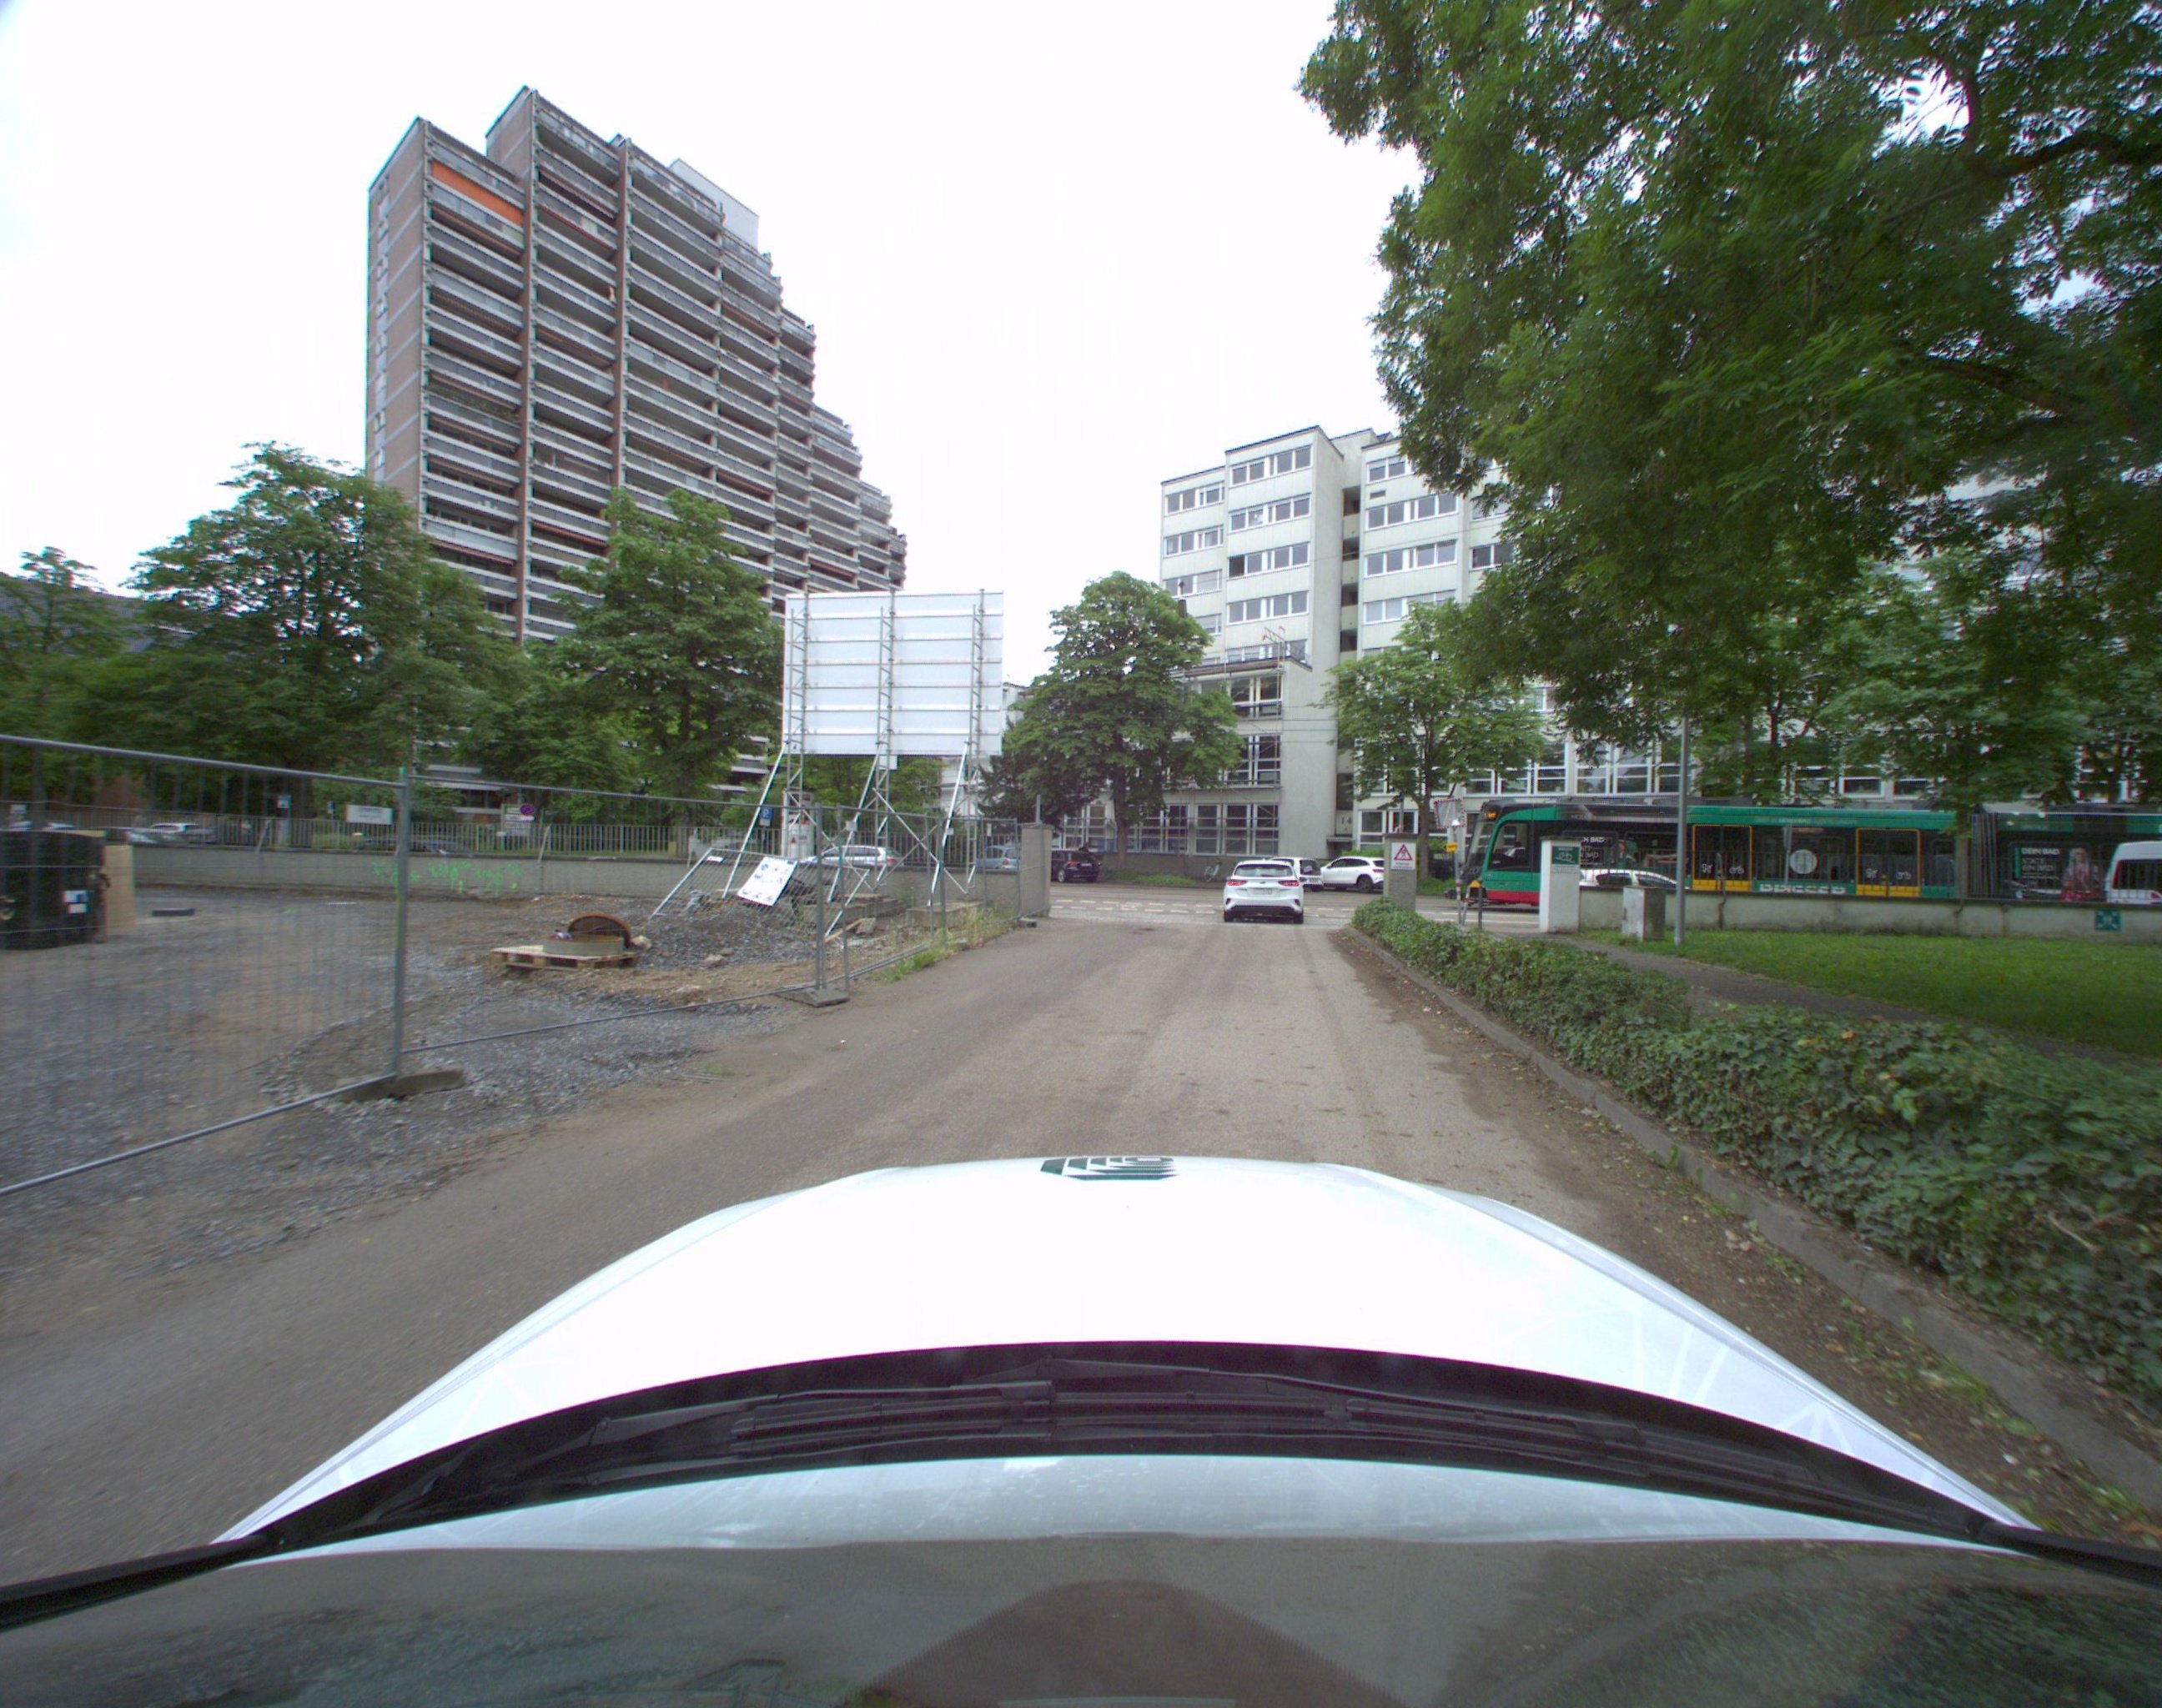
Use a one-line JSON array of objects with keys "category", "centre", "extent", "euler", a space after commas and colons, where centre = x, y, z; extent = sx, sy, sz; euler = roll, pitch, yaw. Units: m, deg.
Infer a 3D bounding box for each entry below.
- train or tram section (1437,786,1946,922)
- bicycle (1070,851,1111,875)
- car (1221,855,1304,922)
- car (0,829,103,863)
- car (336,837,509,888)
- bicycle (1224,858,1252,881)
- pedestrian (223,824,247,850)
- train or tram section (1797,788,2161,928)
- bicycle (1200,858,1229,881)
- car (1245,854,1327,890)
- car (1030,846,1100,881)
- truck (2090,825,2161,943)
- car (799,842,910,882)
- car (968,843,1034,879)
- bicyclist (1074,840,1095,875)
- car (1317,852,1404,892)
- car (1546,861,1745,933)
[{"category": "train or tram section", "centre": [17.529, -0.097, 24.343], "extent": [12.342, 3.614, 2.675], "euler": [1, 0, 9]}, {"category": "bicycle", "centre": [0.478, 0.453, 41.019], "extent": [1.898, 1.174, 0.824], "euler": [2, 0, 9]}, {"category": "car", "centre": [4.496, 0.824, 19.793], "extent": [1.762, 1.433, 3.994], "euler": [1, -2, 15]}, {"category": "car", "centre": [-49.500, -0.381, 38.992], "extent": [3.963, 1.519, 1.607], "euler": [1, 0, 9]}, {"category": "car", "centre": [-19.760, 0.241, 24.510], "extent": [3.963, 1.418, 1.838], "euler": [1, 0, 9]}, {"category": "bicycle", "centre": [8.102, 0.793, 41.942], "extent": [0.638, 1.074, 2.327], "euler": [2, 2, 32]}, {"category": "pedestrian", "centre": [-50.207, -0.987, 48.350], "extent": [0.519, 1.527, 0.843], "euler": [2, 0, -2]}, {"category": "train or tram section", "centre": [27.810, 0.116, 22.624], "extent": [12.342, 3.614, 2.675], "euler": [1, 0, 9]}, {"category": "bicycle", "centre": [6.993, 0.776, 42.677], "extent": [0.638, 1.074, 2.327], "euler": [2, 2, 32]}, {"category": "car", "centre": [8.968, 0.776, 35.799], "extent": [1.562, 1.473, 3.374], "euler": [1, 0, -32]}, {"category": "car", "centre": [-0.758, 0.424, 37.145], "extent": [1.625, 1.511, 3.301], "euler": [1, 0, -35]}, {"category": "truck", "centre": [25.685, 0.689, 17.460], "extent": [4.882, 2.546, 2.175], "euler": [1, 0, 9]}, {"category": "car", "centre": [-9.215, 0.297, 33.322], "extent": [3.962, 1.519, 1.736], "euler": [1, 0, 10]}, {"category": "car", "centre": [-3.711, 0.298, 37.527], "extent": [1.625, 1.537, 3.302], "euler": [1, 0, -35]}, {"category": "bicyclist", "centre": [0.192, 0.160, 41.054], "extent": [0.889, 1.698, 0.836], "euler": [2, 0, 9]}, {"category": "car", "centre": [12.180, 0.760, 35.588], "extent": [1.562, 1.618, 3.374], "euler": [1, 0, -32]}, {"category": "car", "centre": [13.431, 0.986, 19.578], "extent": [3.560, 1.500, 1.670], "euler": [2, 0, 10]}]
